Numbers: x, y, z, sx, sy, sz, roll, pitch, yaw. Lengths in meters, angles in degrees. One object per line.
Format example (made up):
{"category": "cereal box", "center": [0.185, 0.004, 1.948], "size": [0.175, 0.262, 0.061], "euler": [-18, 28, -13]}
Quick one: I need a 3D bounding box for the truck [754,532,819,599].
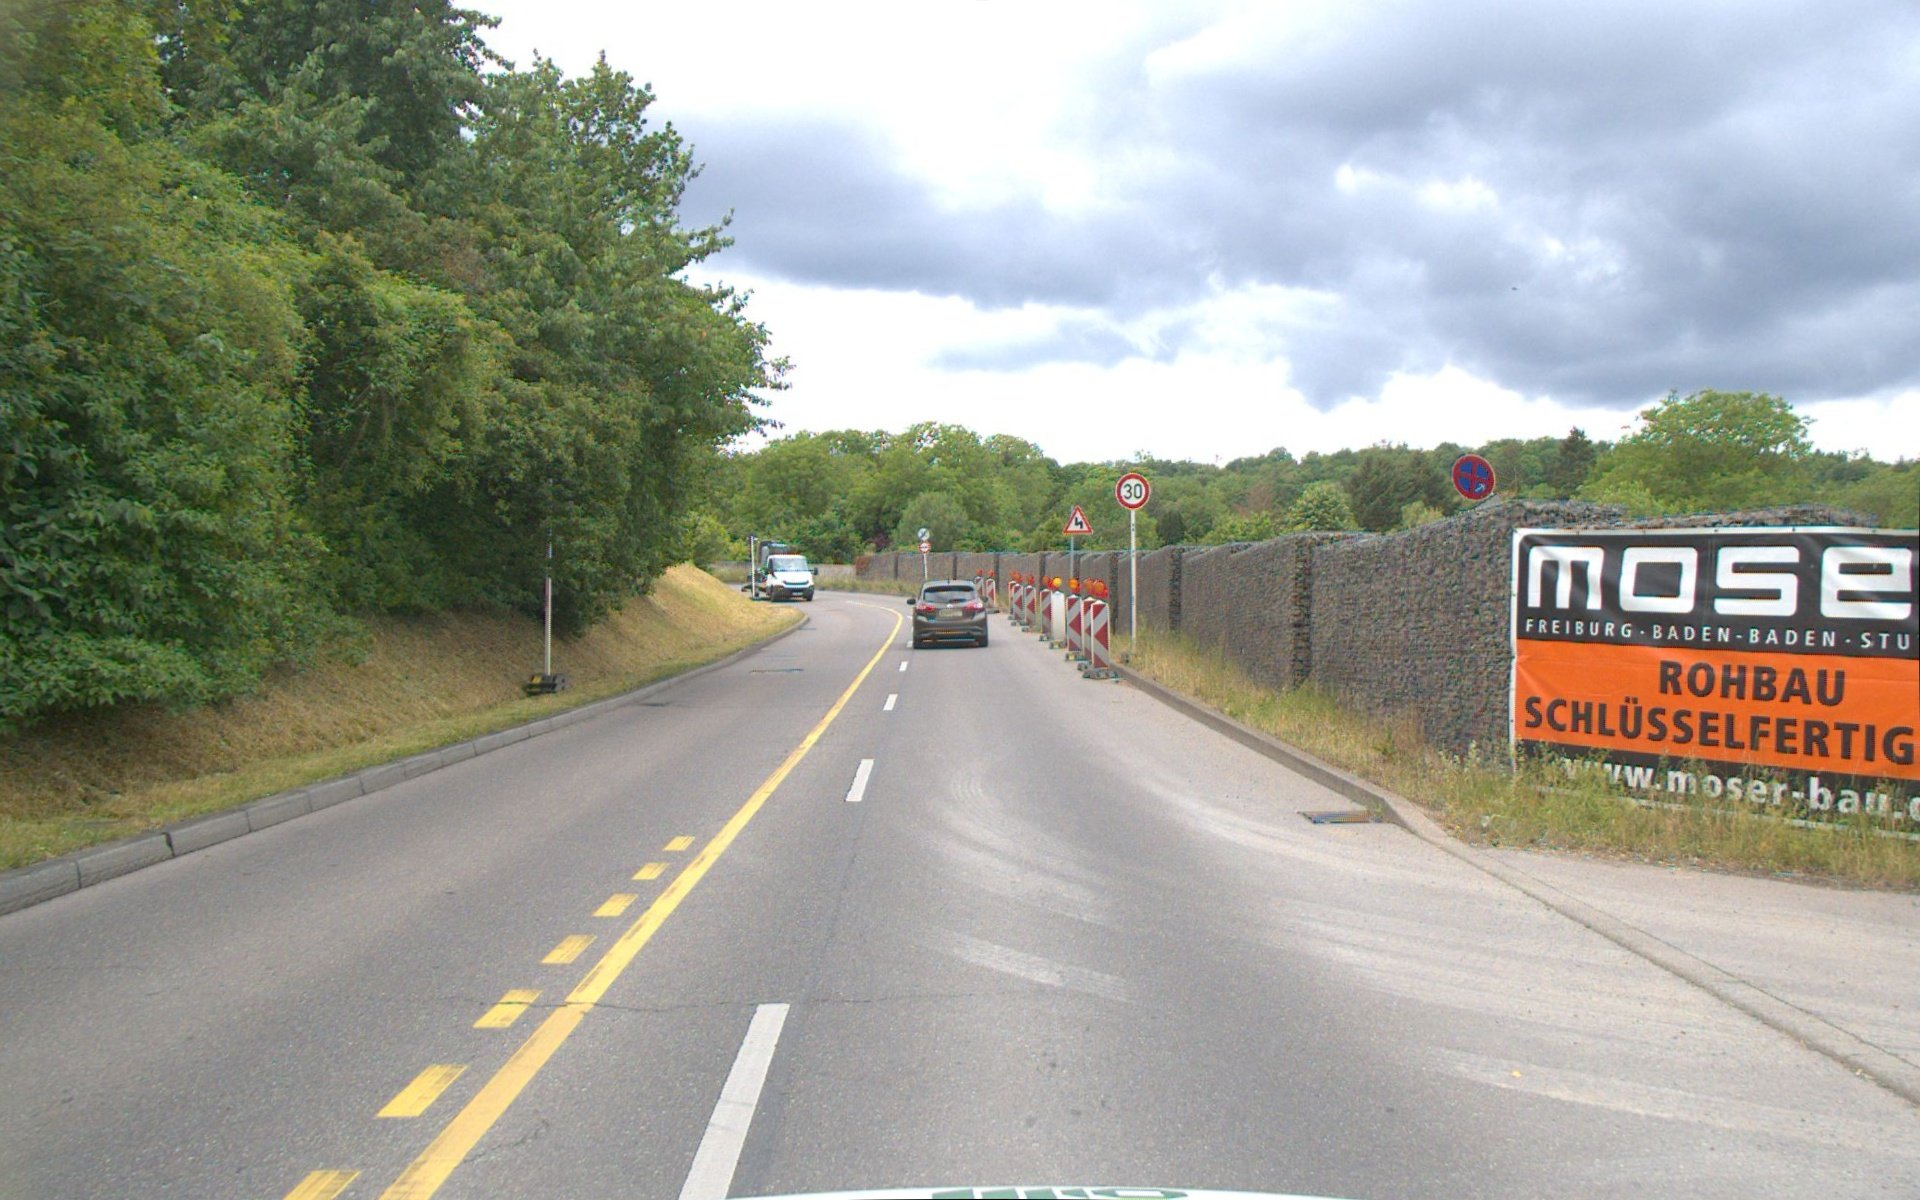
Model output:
{"category": "truck", "center": [-8.640, -1.692, 81.654], "size": [2.177, 3.067, 7.712], "euler": [-1, 1, -14]}

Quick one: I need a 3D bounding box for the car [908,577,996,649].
{"category": "car", "center": [-0.239, 0.264, 39.293], "size": [1.803, 1.509, 3.998], "euler": [-2, 1, -4]}
